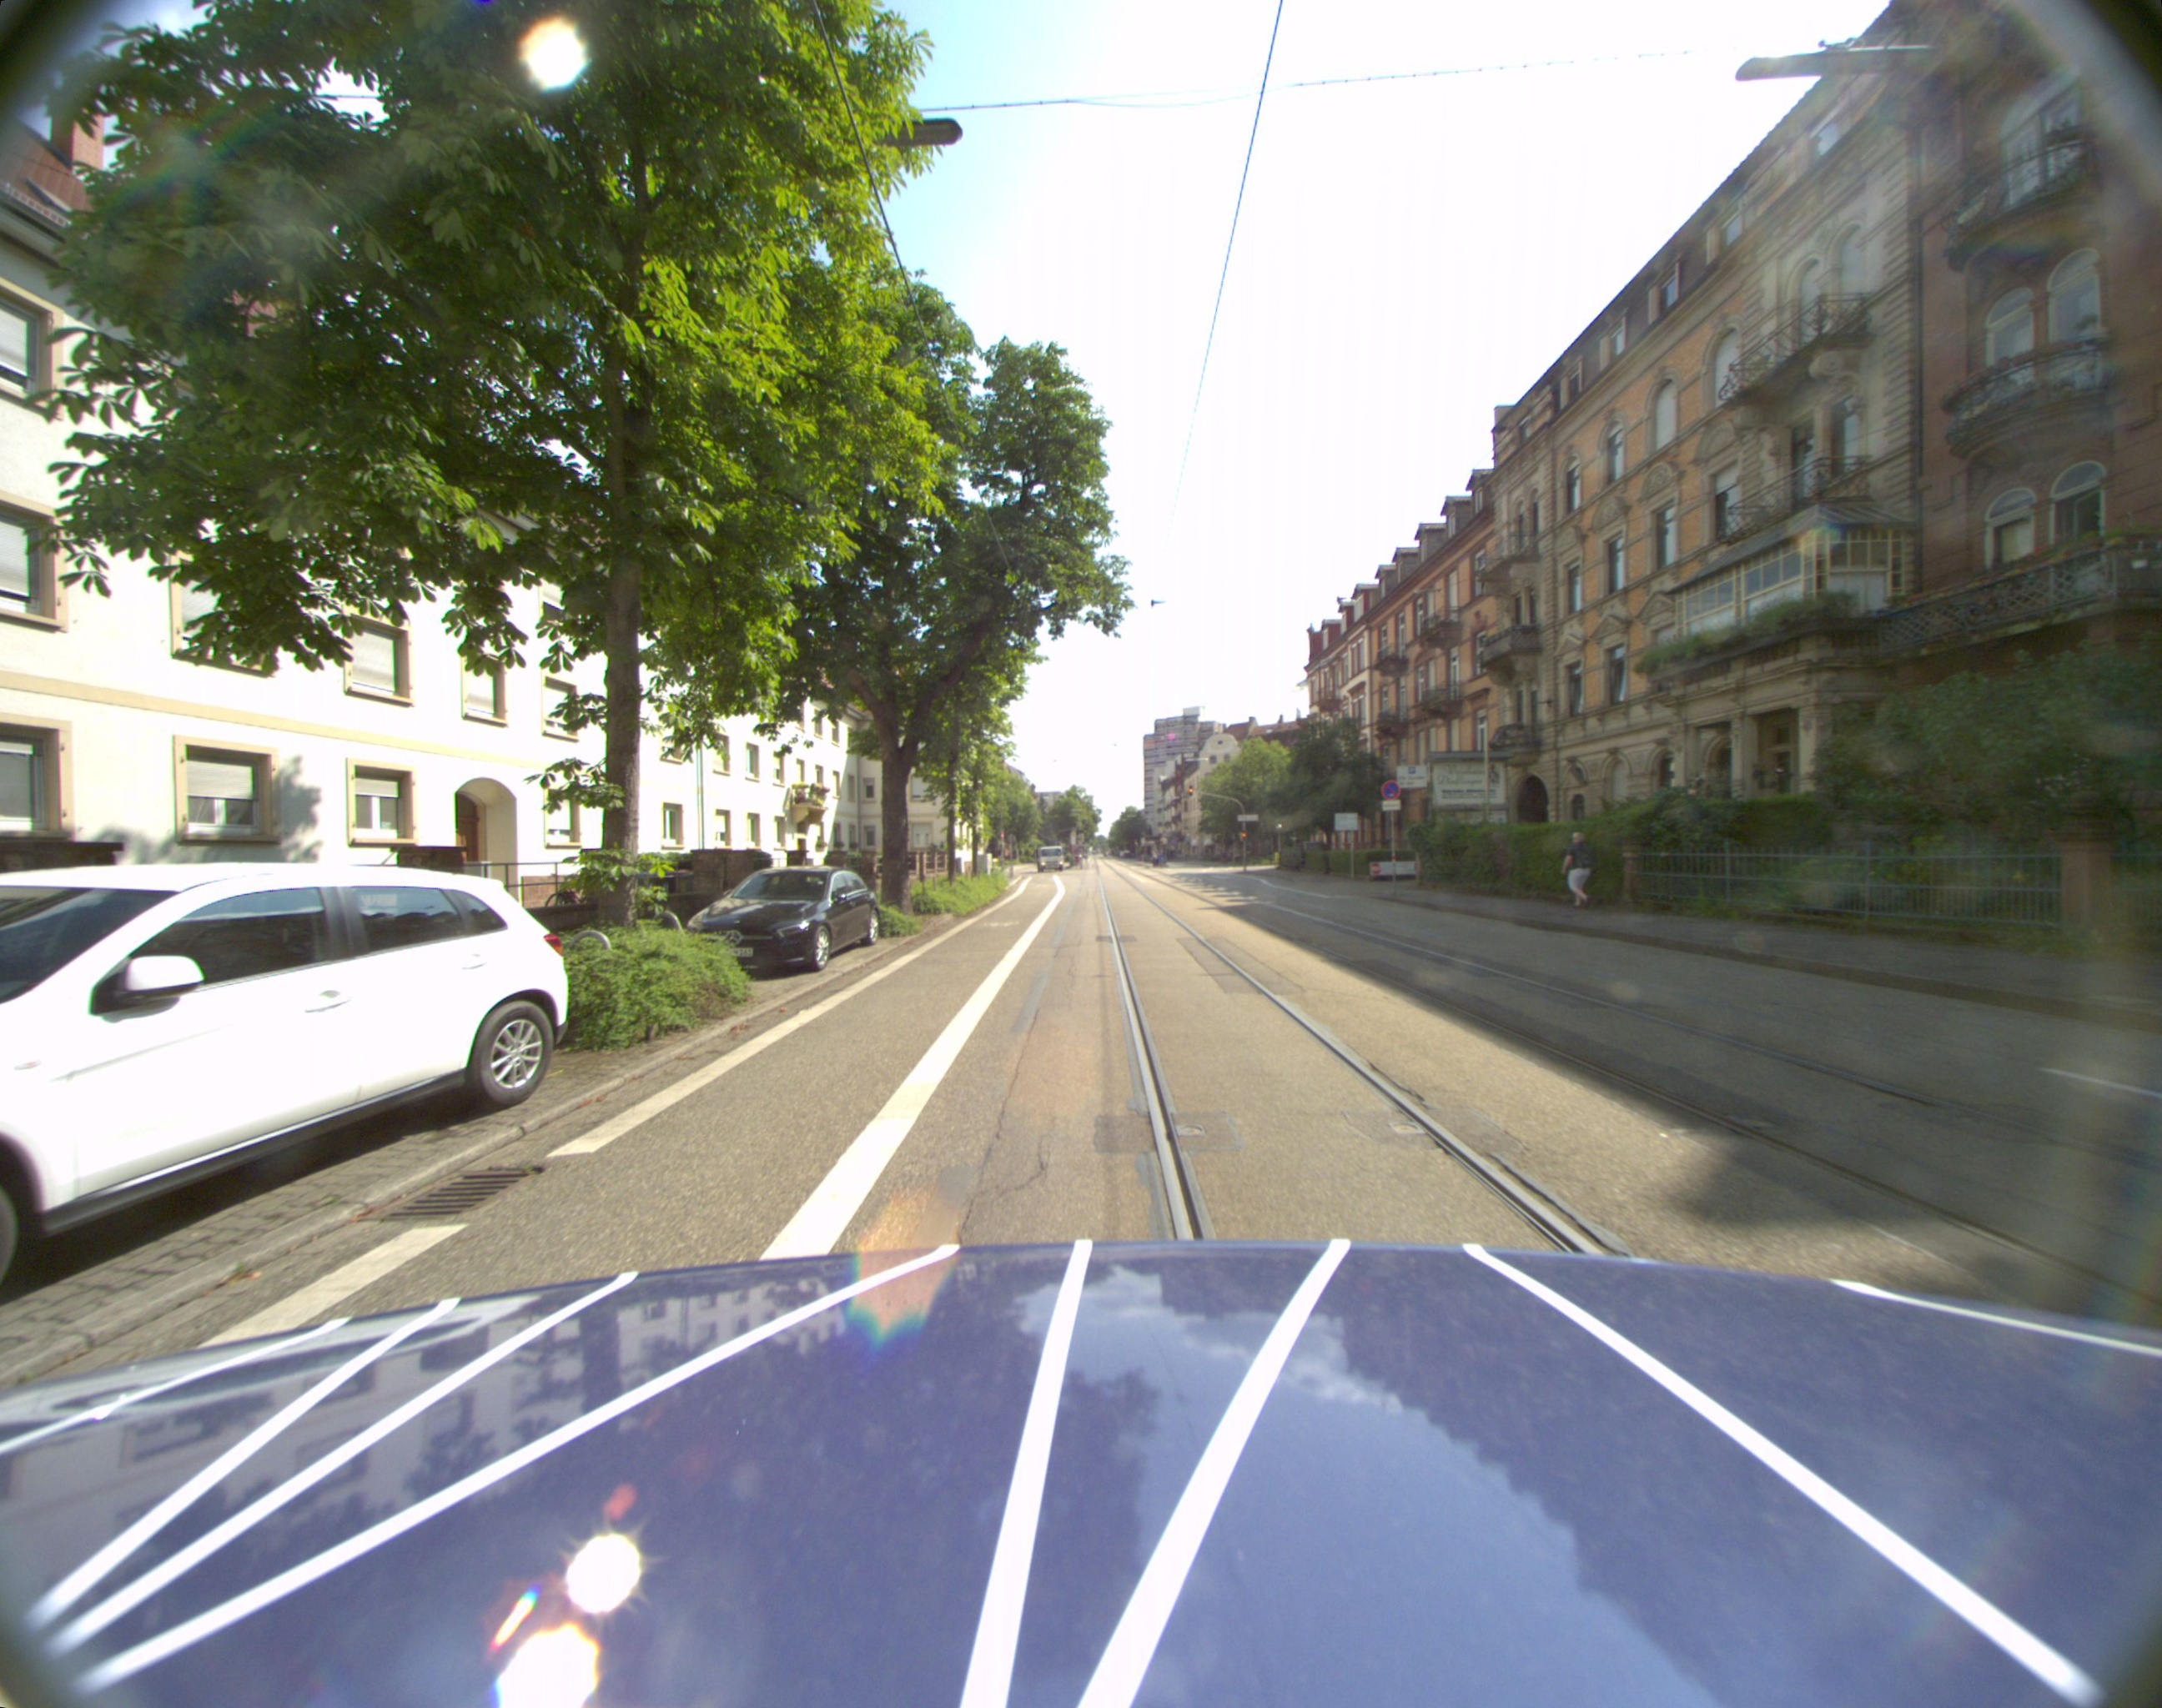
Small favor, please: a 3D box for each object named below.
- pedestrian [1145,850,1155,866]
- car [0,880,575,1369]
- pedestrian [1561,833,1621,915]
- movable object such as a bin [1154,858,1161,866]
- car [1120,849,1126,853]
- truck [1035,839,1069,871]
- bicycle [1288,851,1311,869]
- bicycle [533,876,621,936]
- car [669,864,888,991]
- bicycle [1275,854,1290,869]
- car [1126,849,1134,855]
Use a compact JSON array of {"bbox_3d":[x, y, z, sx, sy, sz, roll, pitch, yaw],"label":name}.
[{"bbox_3d":[6.677,0.365,73.158,0.783,1.565,0.692,-1,1,-13],"label":"pedestrian"},{"bbox_3d":[-4.611,1.011,3.397,1.746,1.571,4.249,-1,0,1],"label":"car"},{"bbox_3d":[10.957,0.423,16.362,0.489,1.693,1.151,-1,1,-1],"label":"pedestrian"},{"bbox_3d":[7.425,0.764,73.601,0.513,0.713,0.457,-1,0,-13],"label":"movable object such as a bin"},{"bbox_3d":[13.519,-0.958,246.595,1.841,1.482,3.892,-1,0,1],"label":"car"},{"bbox_3d":[-2.530,0.057,68.380,2.531,2.722,6.515,-1,0,2],"label":"truck"},{"bbox_3d":[13.993,0.402,48.630,1.308,1.124,0.497,-1,1,0],"label":"bicycle"},{"bbox_3d":[-10.693,1.070,16.193,0.626,1.128,1.801,-1,0,1],"label":"bicycle"},{"bbox_3d":[-4.422,0.974,11.889,1.665,1.512,4.287,-1,0,0],"label":"car"},{"bbox_3d":[13.301,0.506,50.196,0.560,0.927,1.826,-1,0,4],"label":"bicycle"},{"bbox_3d":[12.320,-0.406,190.929,1.841,1.482,3.892,-1,0,1],"label":"car"}]
